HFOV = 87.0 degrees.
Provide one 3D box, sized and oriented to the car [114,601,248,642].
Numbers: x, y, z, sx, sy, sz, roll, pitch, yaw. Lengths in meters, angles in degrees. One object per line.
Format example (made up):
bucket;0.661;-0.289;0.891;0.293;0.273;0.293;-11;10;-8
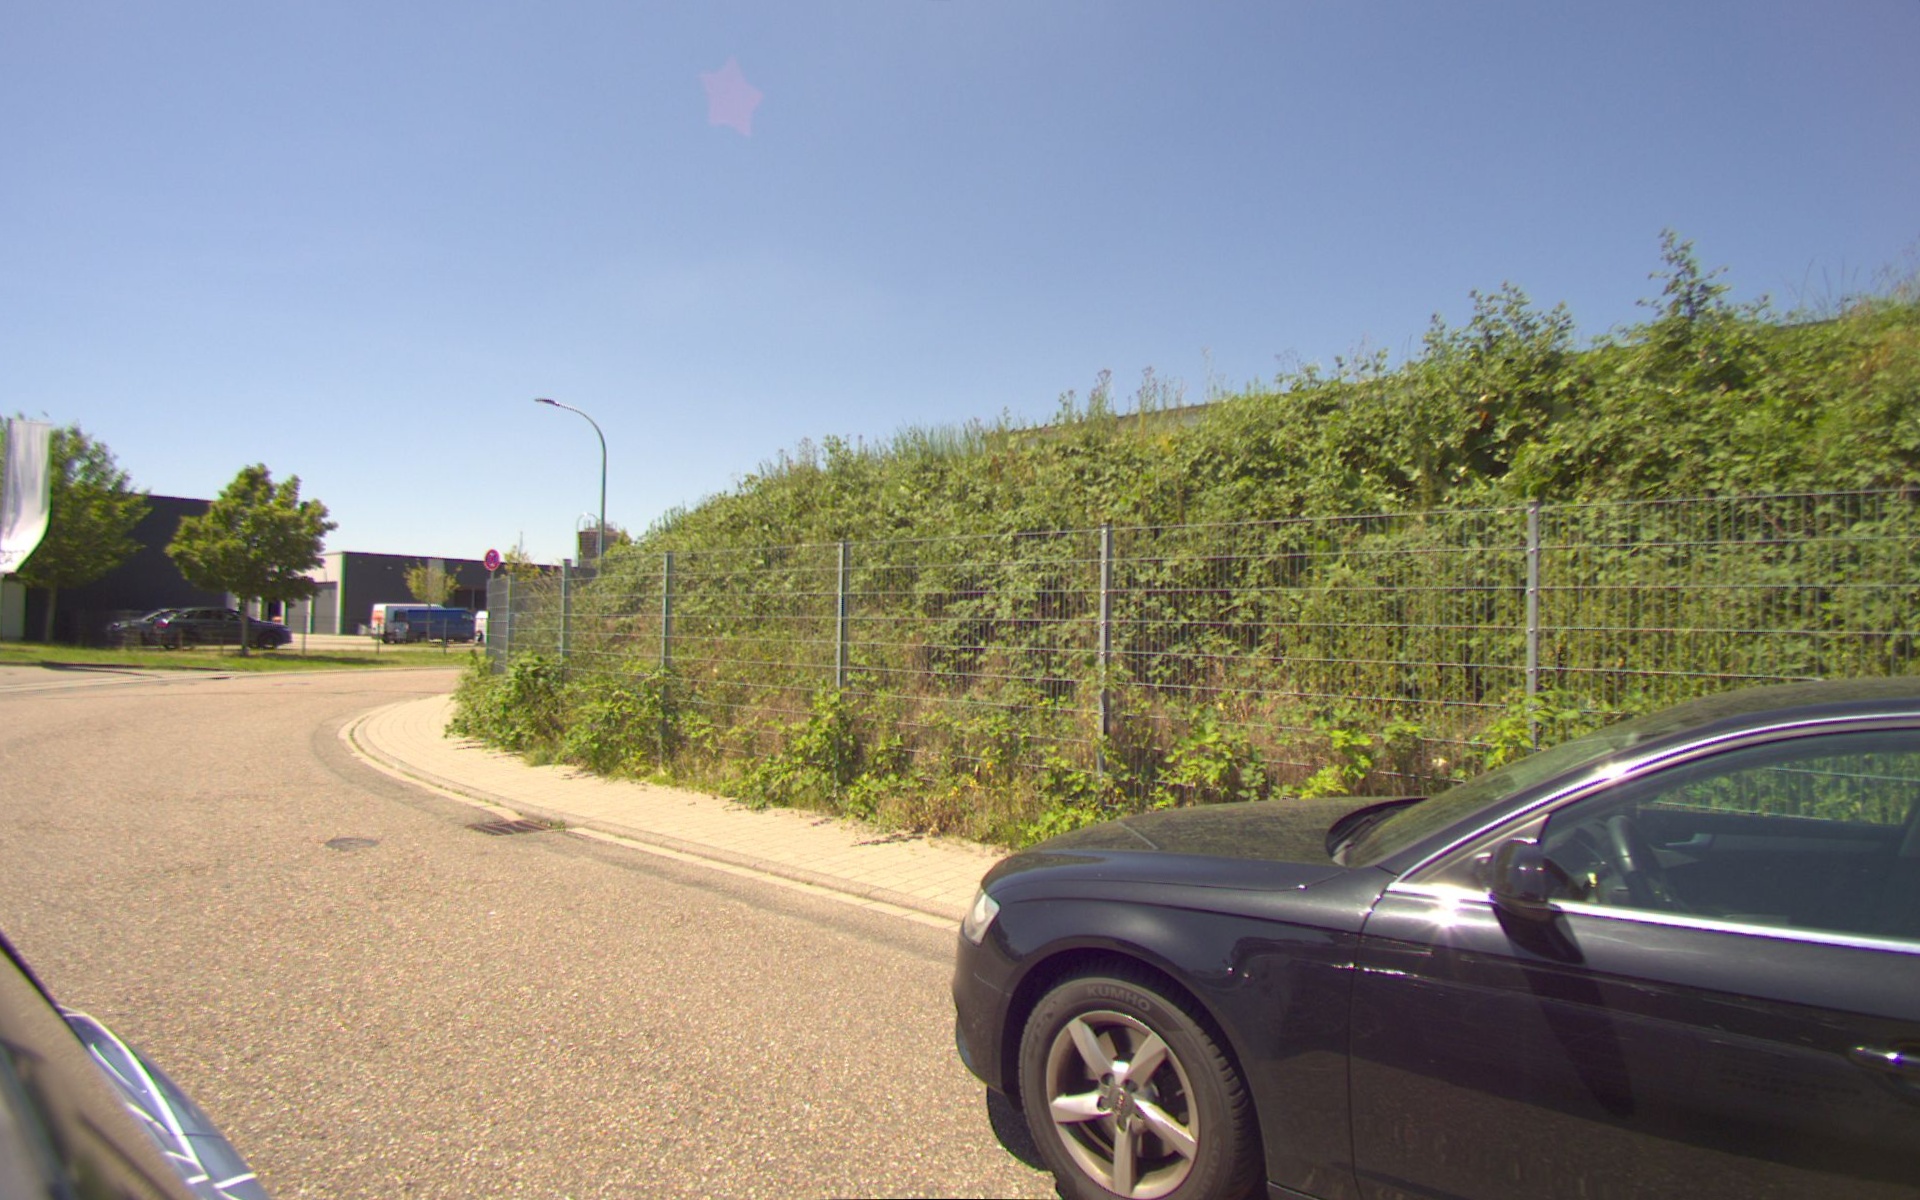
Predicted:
car;-32.593;0.918;42.431;1.778;1.579;4.118;0;-3;38

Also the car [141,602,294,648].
car;-27.421;0.910;37.480;1.778;1.613;4.228;0;-1;38

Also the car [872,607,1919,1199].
car;2.106;0.785;2.191;4.575;1.466;1.807;0;-3;38

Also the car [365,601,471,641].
car;-34.853;1.315;65.212;2.193;2.476;5.607;-2;-1;38

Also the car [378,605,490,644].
car;-32.767;1.578;63.238;2.141;2.242;5.759;0;-3;37
